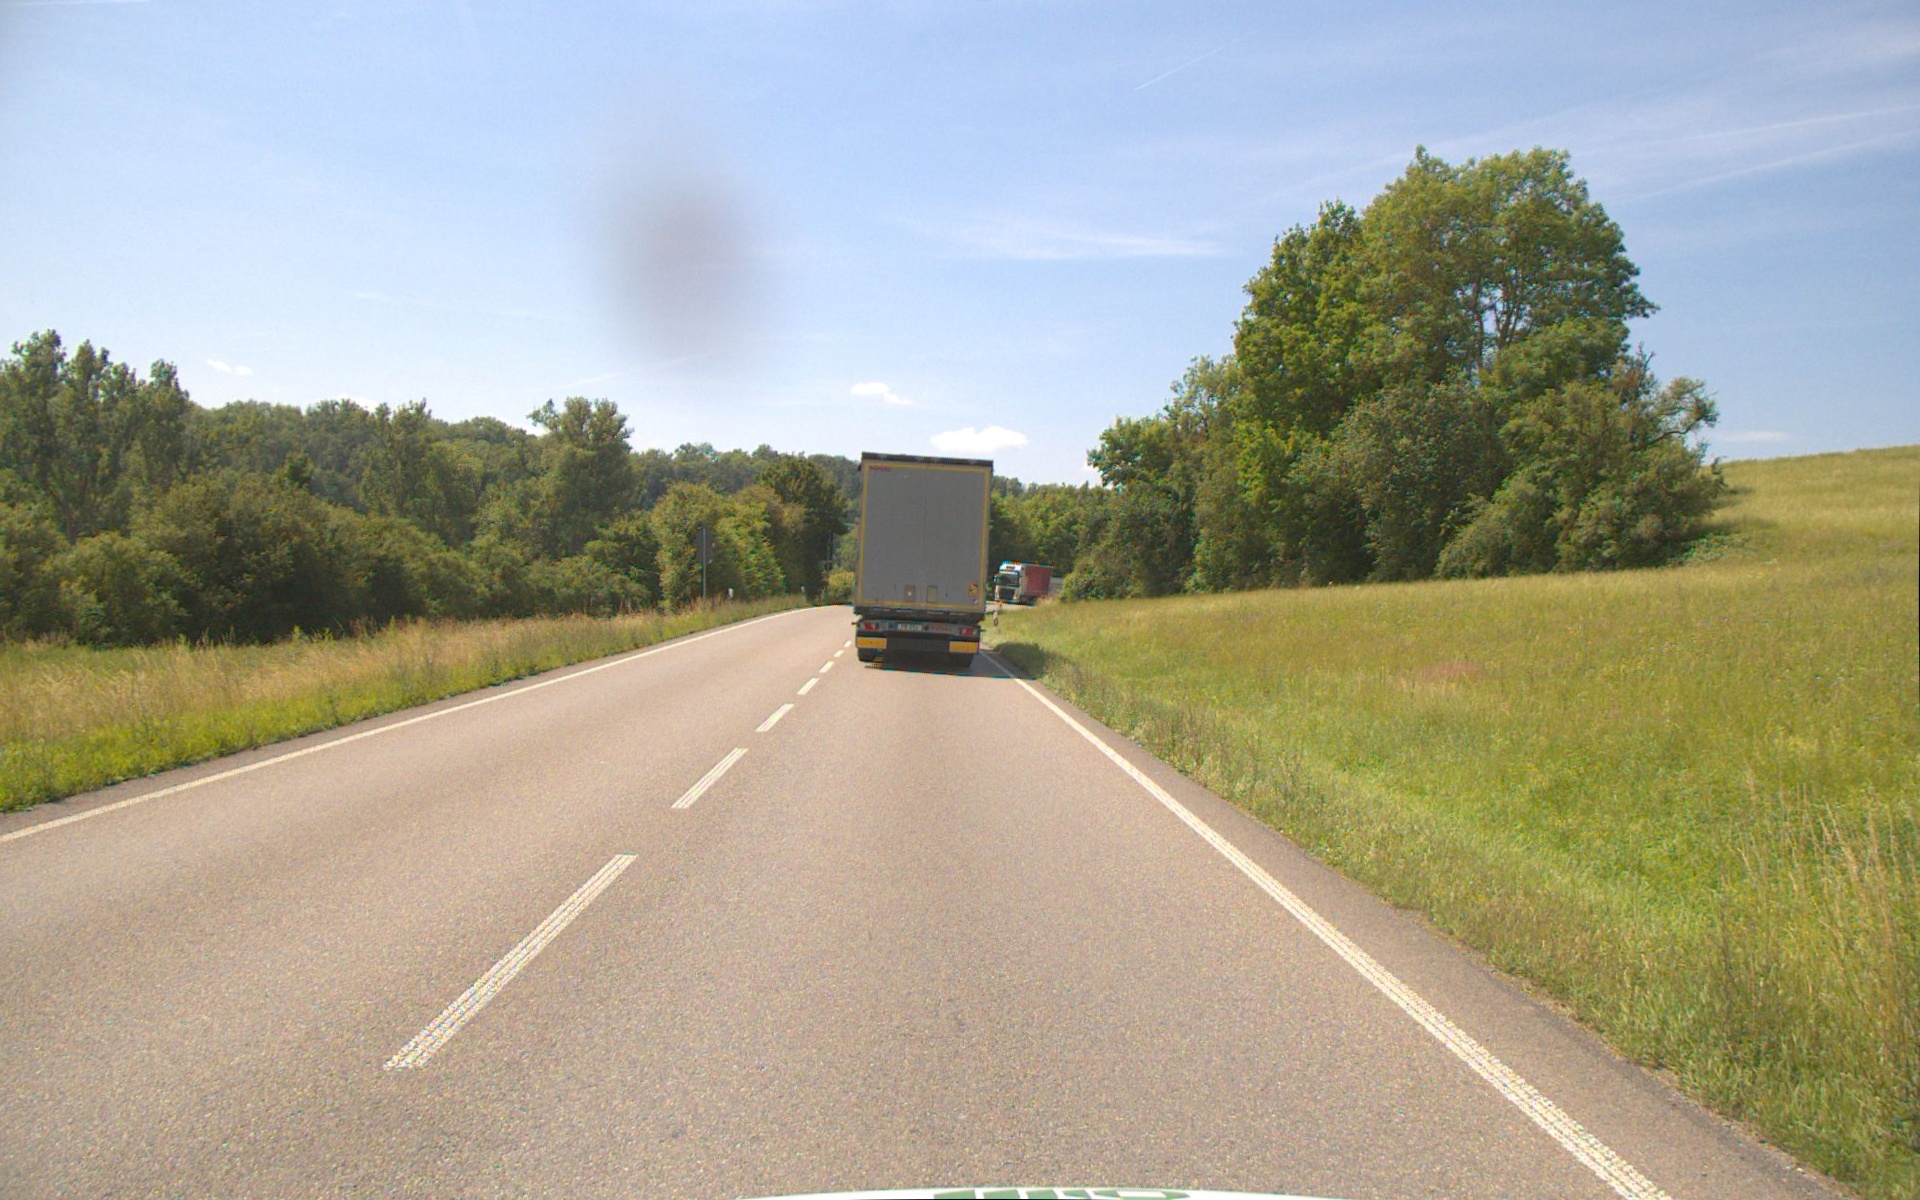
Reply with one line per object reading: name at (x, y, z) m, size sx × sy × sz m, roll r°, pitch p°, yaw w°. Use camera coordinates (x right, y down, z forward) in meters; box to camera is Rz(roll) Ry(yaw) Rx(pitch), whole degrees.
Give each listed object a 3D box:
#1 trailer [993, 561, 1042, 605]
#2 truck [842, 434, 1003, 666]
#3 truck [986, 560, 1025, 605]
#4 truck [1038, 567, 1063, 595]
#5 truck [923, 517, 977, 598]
trailer at (6.073, -1.819, 172.641) m, size 2.515 × 4.177 × 13.675 m, roll 6°, pitch 2°, yaw 11°
truck at (-0.994, -0.977, 38.555) m, size 2.746 × 4.139 × 15.318 m, roll 4°, pitch 0°, yaw -2°
truck at (4.568, -1.738, 165.001) m, size 2.506 × 4.184 × 5.805 m, roll 6°, pitch 2°, yaw 11°
truck at (9.456, -2.001, 172.620) m, size 2.304 × 2.875 × 5.062 m, roll -2°, pitch 0°, yaw 5°
truck at (-0.577, -2.913, 111.516) m, size 3.042 × 4.785 × 16.592 m, roll 4°, pitch 2°, yaw 0°
